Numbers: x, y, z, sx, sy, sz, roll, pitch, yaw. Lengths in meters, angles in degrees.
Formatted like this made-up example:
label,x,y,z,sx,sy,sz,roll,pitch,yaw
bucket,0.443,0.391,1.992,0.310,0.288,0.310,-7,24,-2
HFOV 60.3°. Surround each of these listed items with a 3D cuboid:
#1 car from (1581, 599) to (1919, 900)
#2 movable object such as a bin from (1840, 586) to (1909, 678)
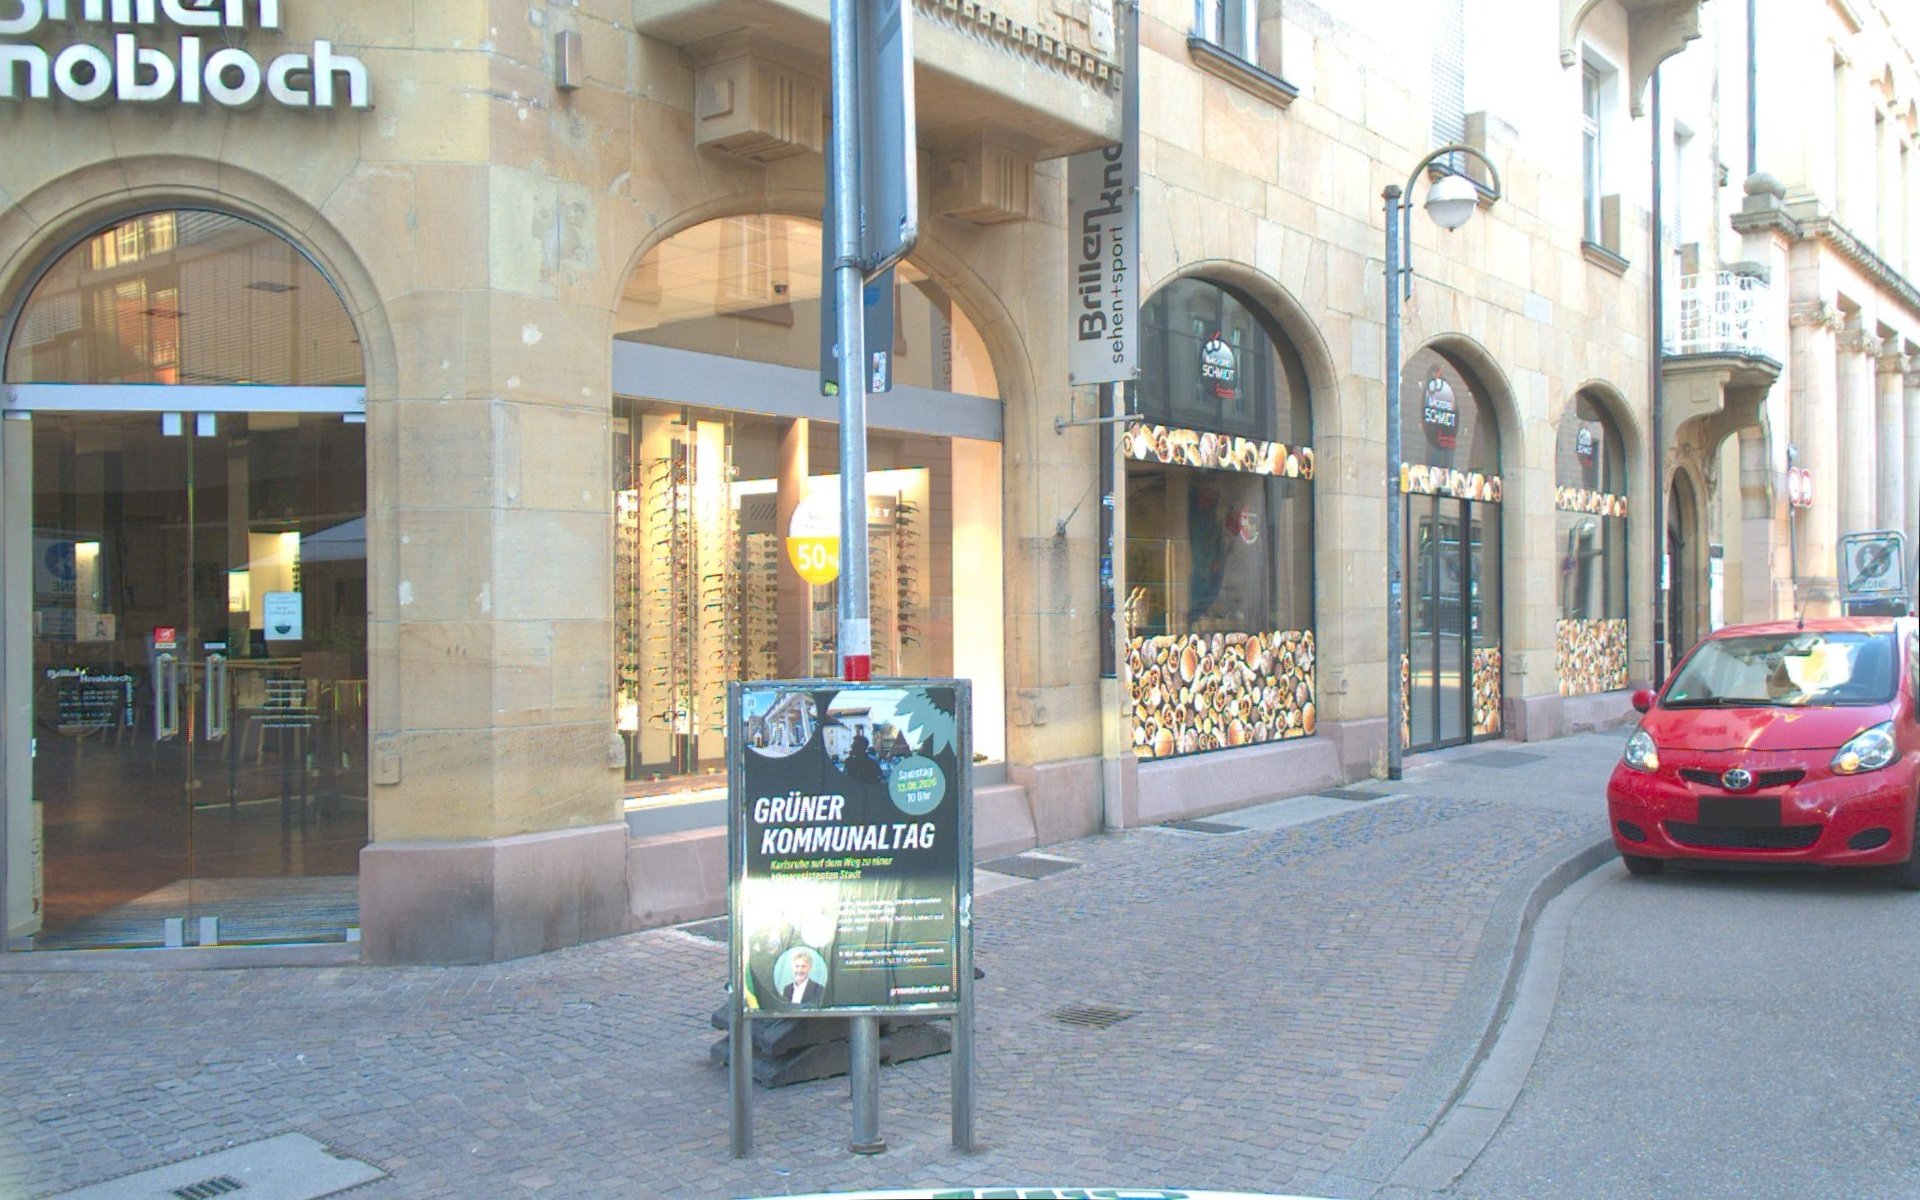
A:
label,x,y,z,sx,sy,sz,roll,pitch,yaw
car,5.394,0.773,10.297,1.632,1.495,3.912,-4,-2,39
movable object such as a bin,15.643,0.525,28.284,0.816,1.529,1.285,0,1,39
